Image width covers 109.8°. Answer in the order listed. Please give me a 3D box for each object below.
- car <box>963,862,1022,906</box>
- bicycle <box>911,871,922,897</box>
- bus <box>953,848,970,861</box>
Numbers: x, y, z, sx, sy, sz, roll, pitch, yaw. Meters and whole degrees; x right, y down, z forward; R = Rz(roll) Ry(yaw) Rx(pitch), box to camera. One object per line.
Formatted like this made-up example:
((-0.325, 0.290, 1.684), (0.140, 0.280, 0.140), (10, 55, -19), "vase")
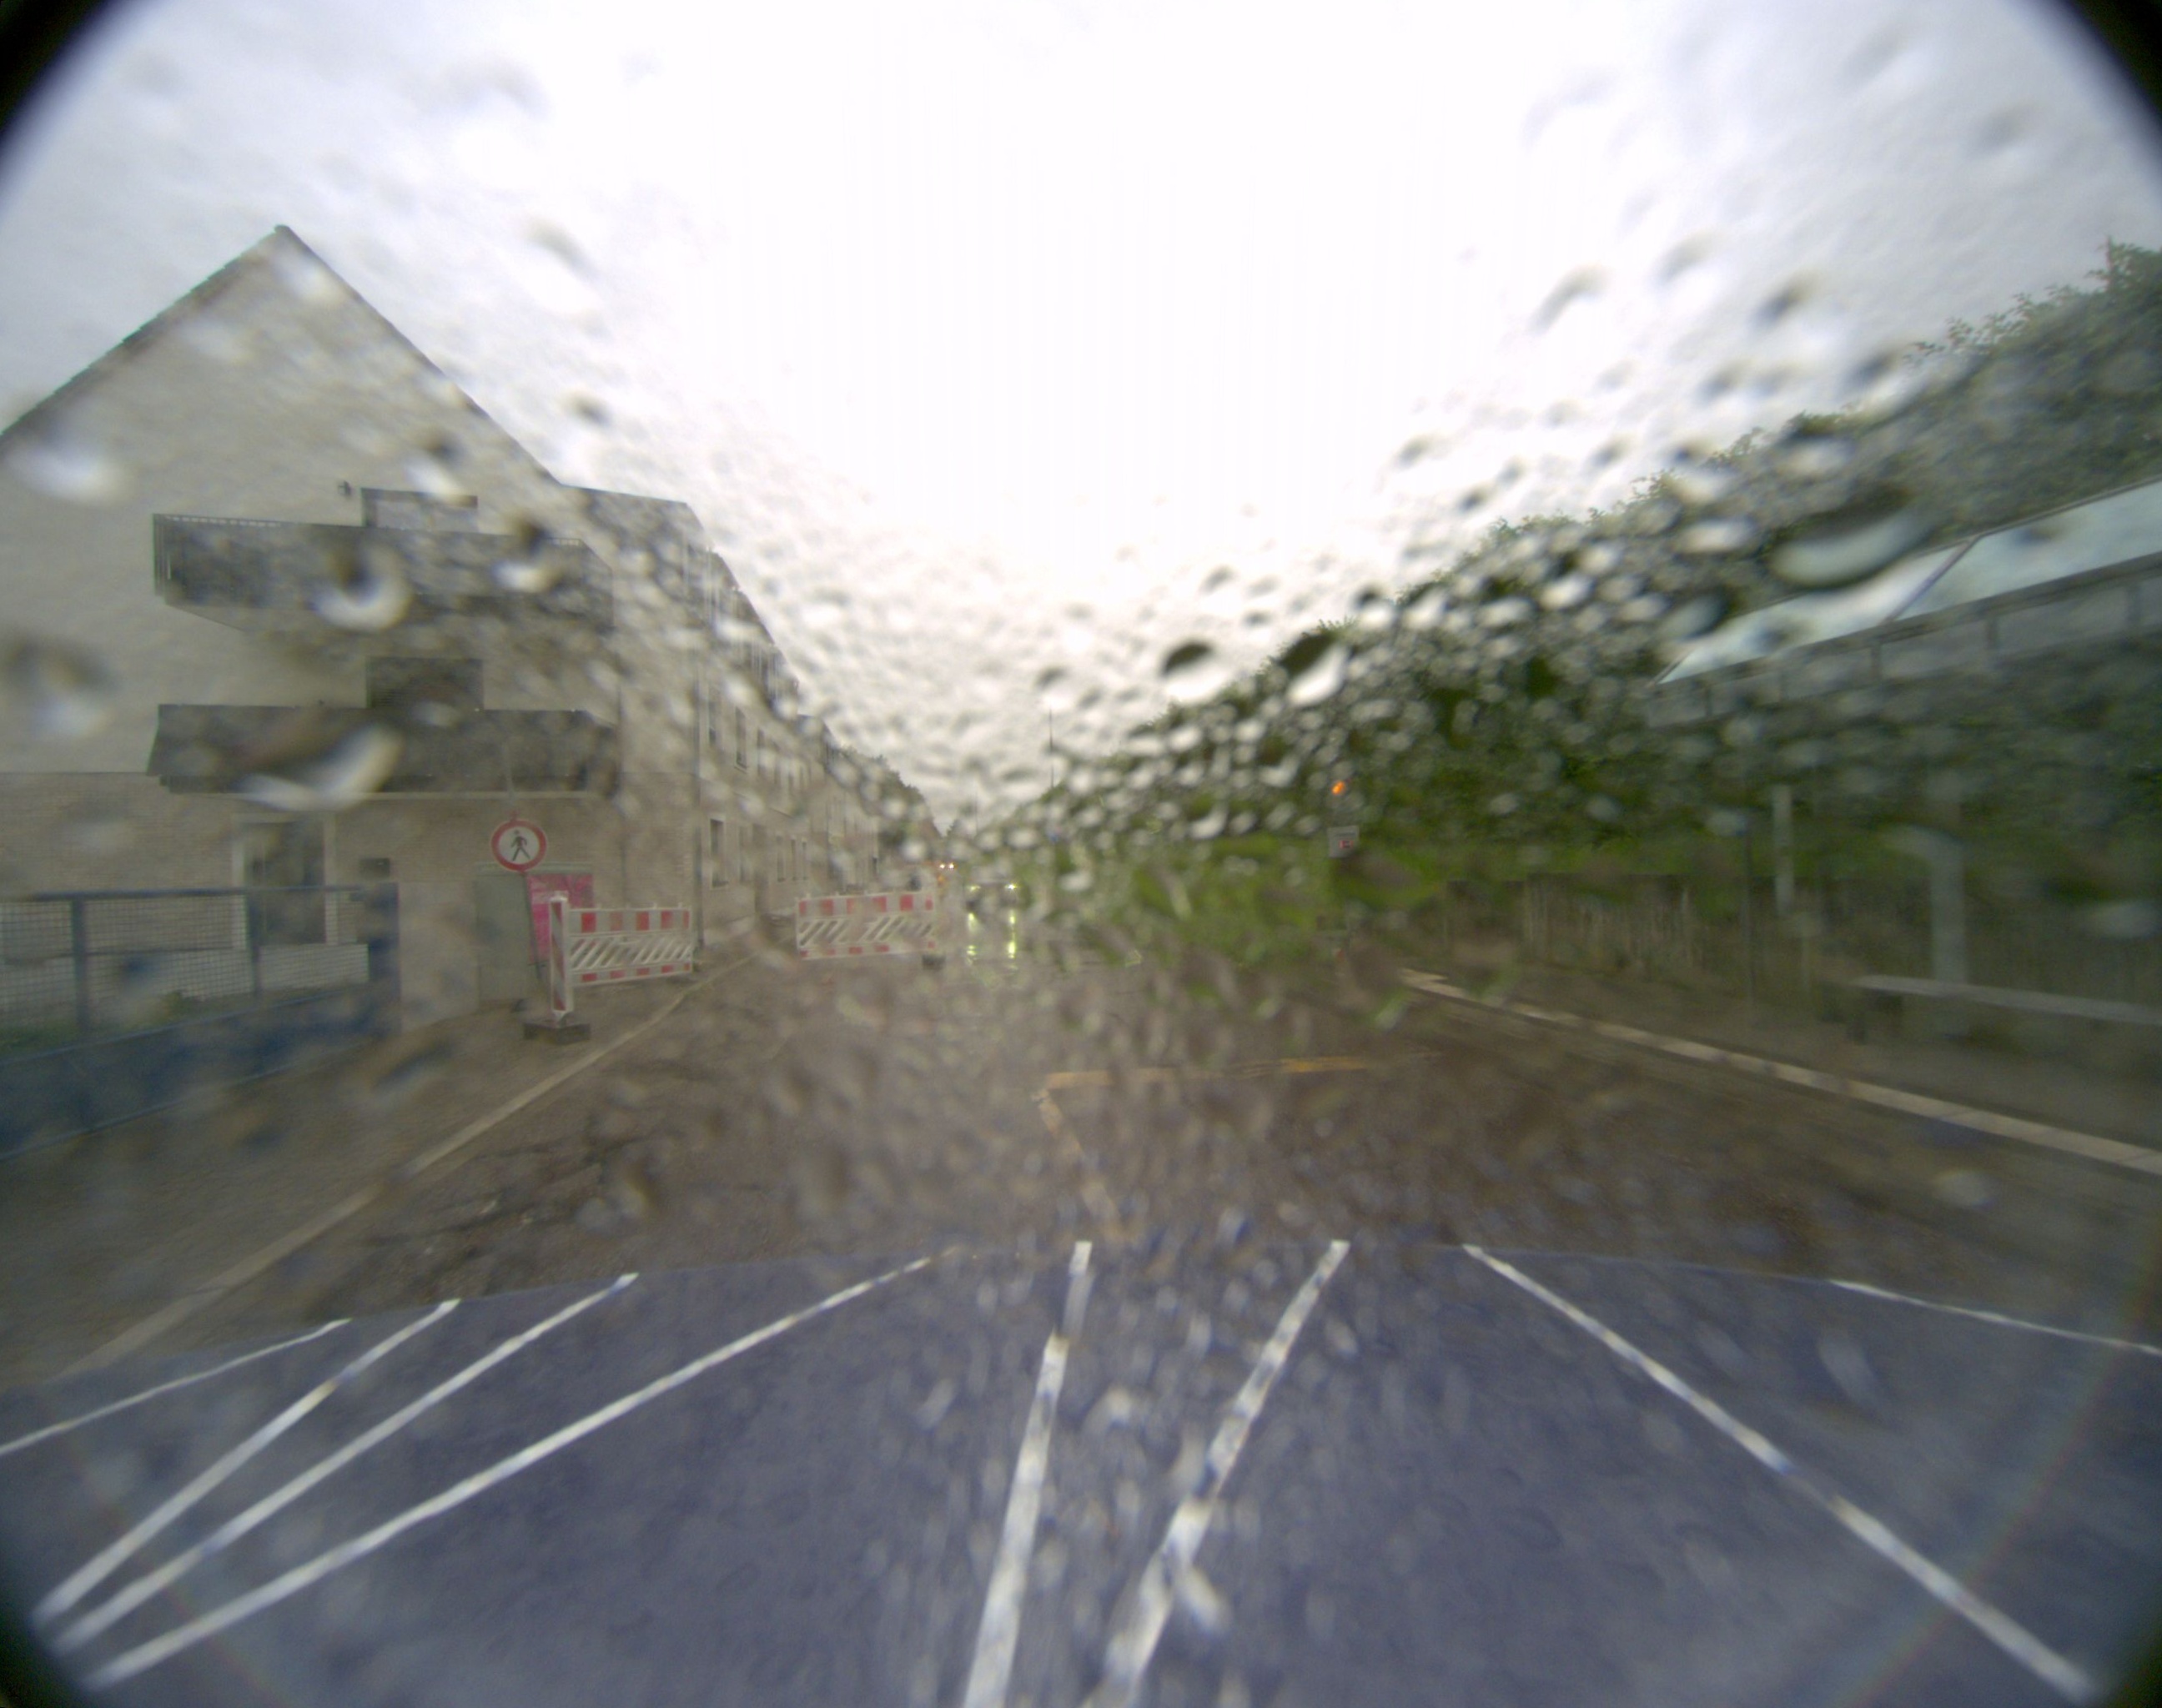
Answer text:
((-3.441, 1.084, 28.975), (1.853, 1.444, 4.527), (0, 0, -12), "car")
((-7.365, 1.335, 34.086), (0.407, 1.137, 1.220), (0, 1, -10), "bicycle")
((-28.922, 0.115, 184.287), (2.686, 2.987, 14.539), (0, 0, -4), "bus")
